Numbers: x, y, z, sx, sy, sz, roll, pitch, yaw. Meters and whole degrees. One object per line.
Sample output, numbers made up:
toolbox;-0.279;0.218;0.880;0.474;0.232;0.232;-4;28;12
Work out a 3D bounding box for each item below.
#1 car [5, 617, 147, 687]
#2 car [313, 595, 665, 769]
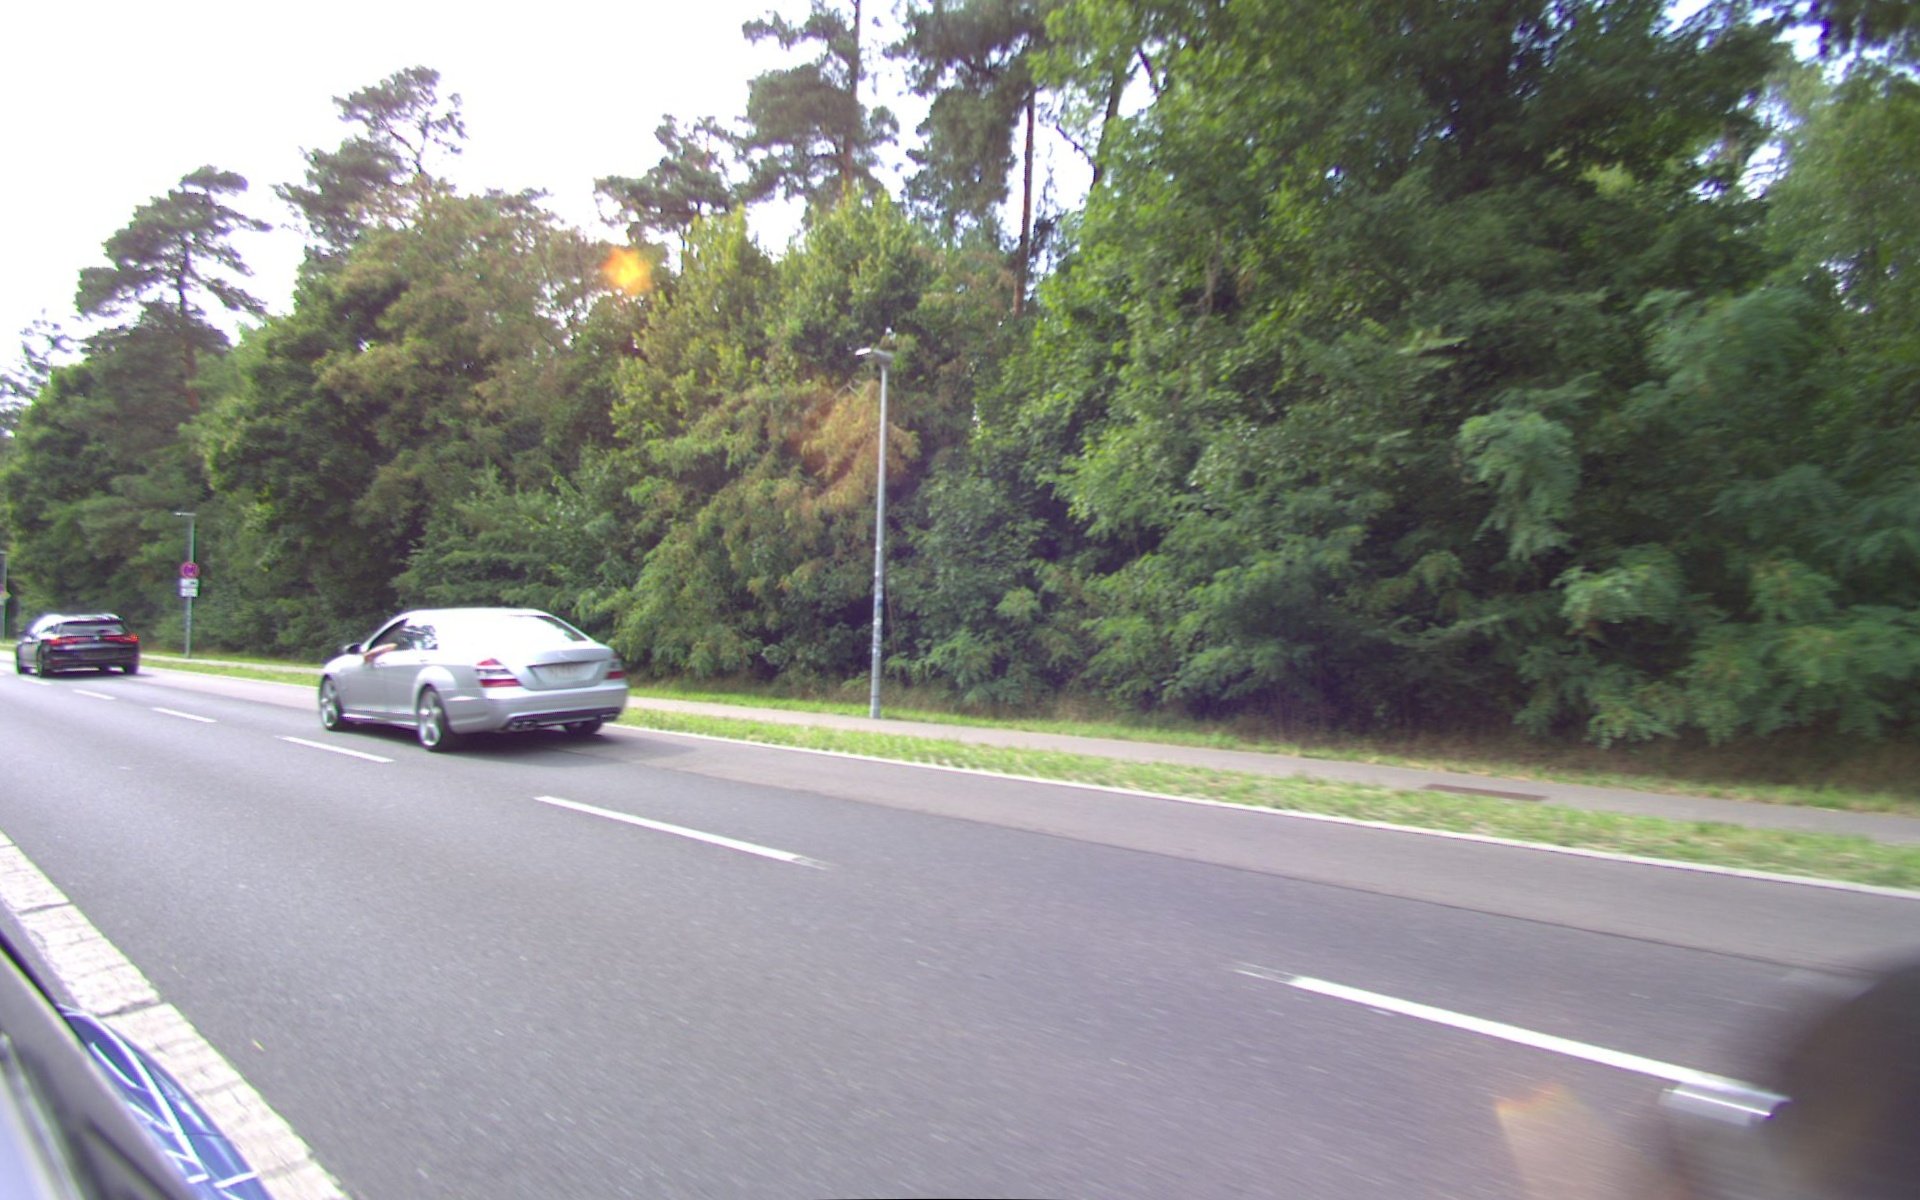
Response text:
car;-21.581;1.183;24.660;4.399;1.453;1.863;0;1;39
car;-5.566;0.764;11.675;4.601;1.574;1.973;0;1;41
